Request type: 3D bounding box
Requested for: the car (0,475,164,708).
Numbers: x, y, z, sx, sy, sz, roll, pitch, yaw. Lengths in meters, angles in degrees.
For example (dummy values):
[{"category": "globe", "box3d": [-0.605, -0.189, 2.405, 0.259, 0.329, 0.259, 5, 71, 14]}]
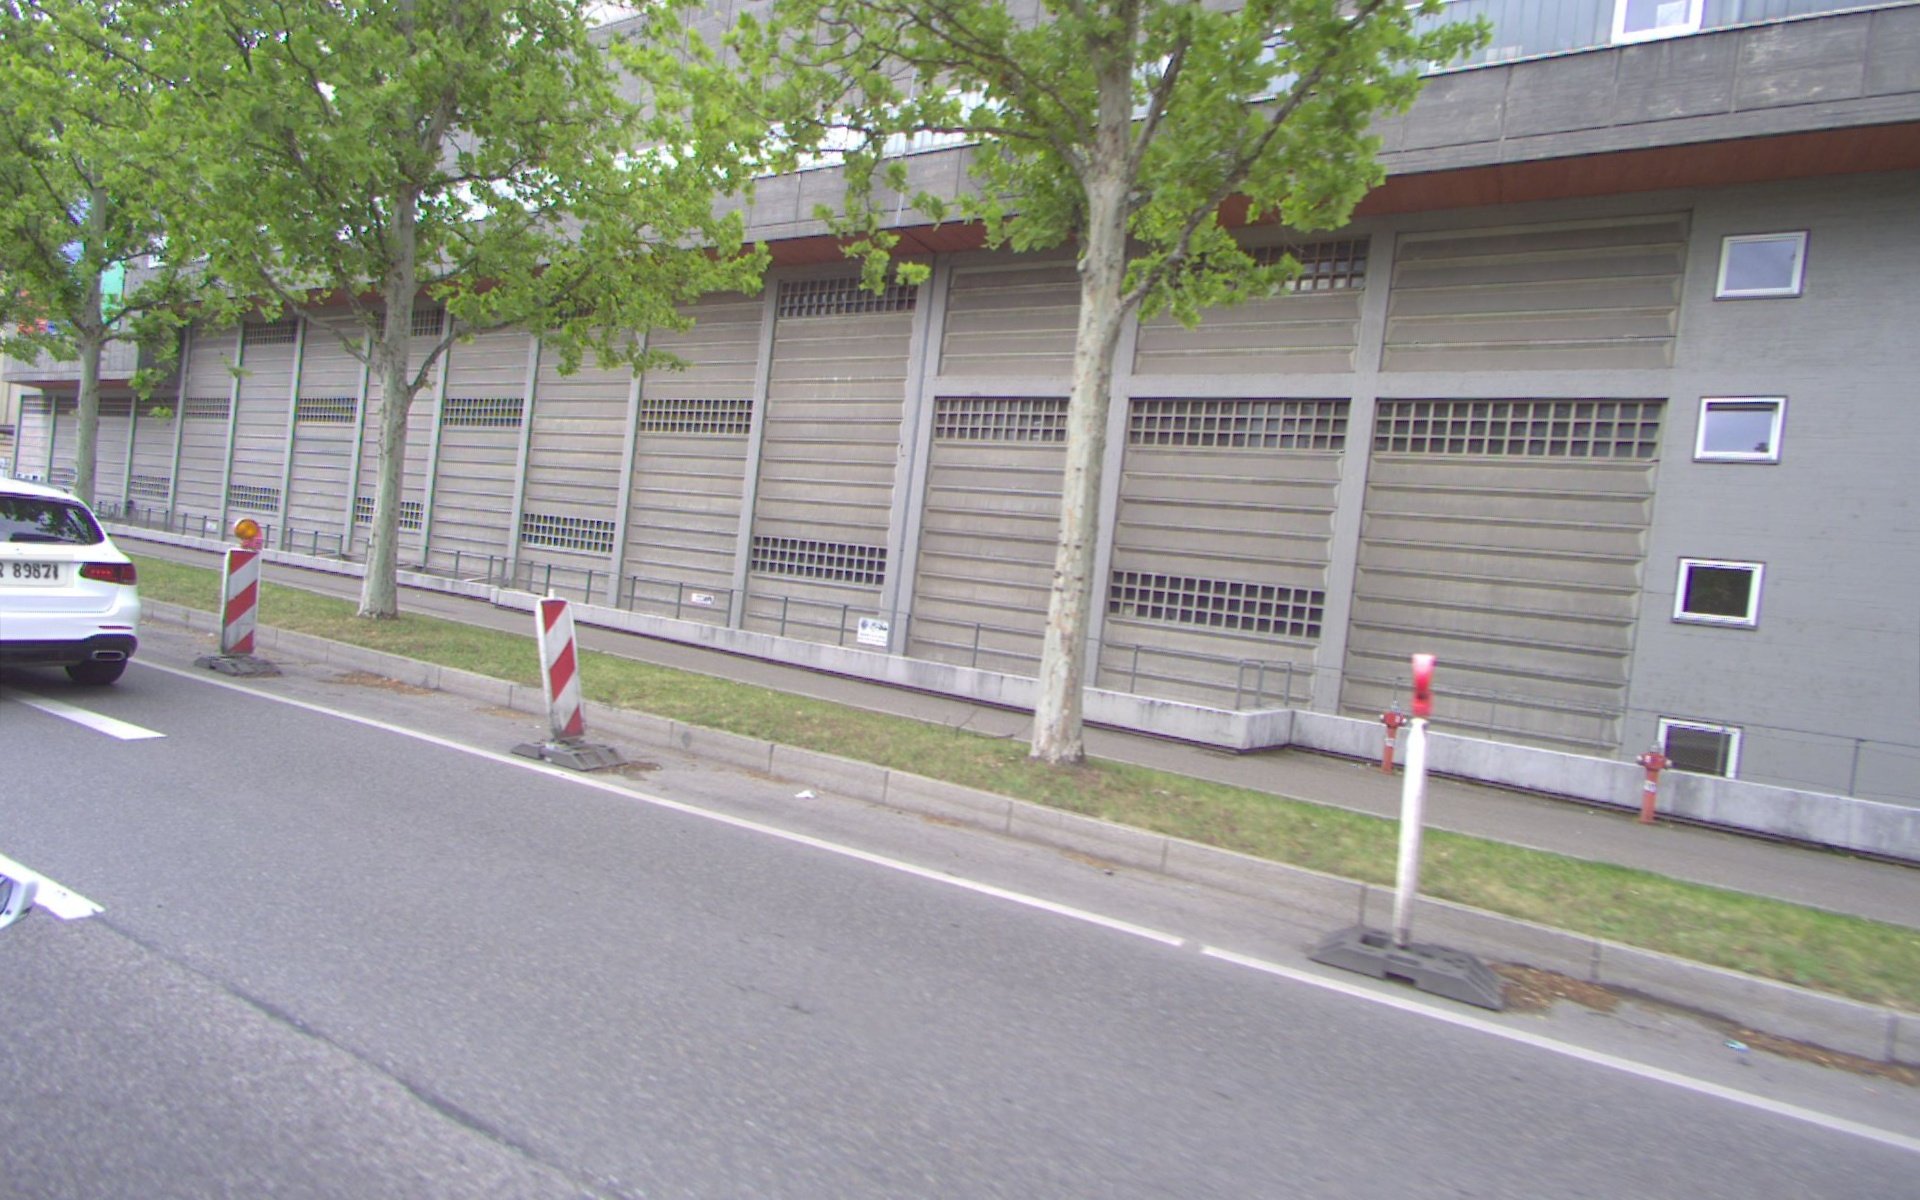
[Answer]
[{"category": "car", "box3d": [-8.780, -0.276, 8.335, 4.473, 1.665, 1.812, 7, 3, 29]}]
